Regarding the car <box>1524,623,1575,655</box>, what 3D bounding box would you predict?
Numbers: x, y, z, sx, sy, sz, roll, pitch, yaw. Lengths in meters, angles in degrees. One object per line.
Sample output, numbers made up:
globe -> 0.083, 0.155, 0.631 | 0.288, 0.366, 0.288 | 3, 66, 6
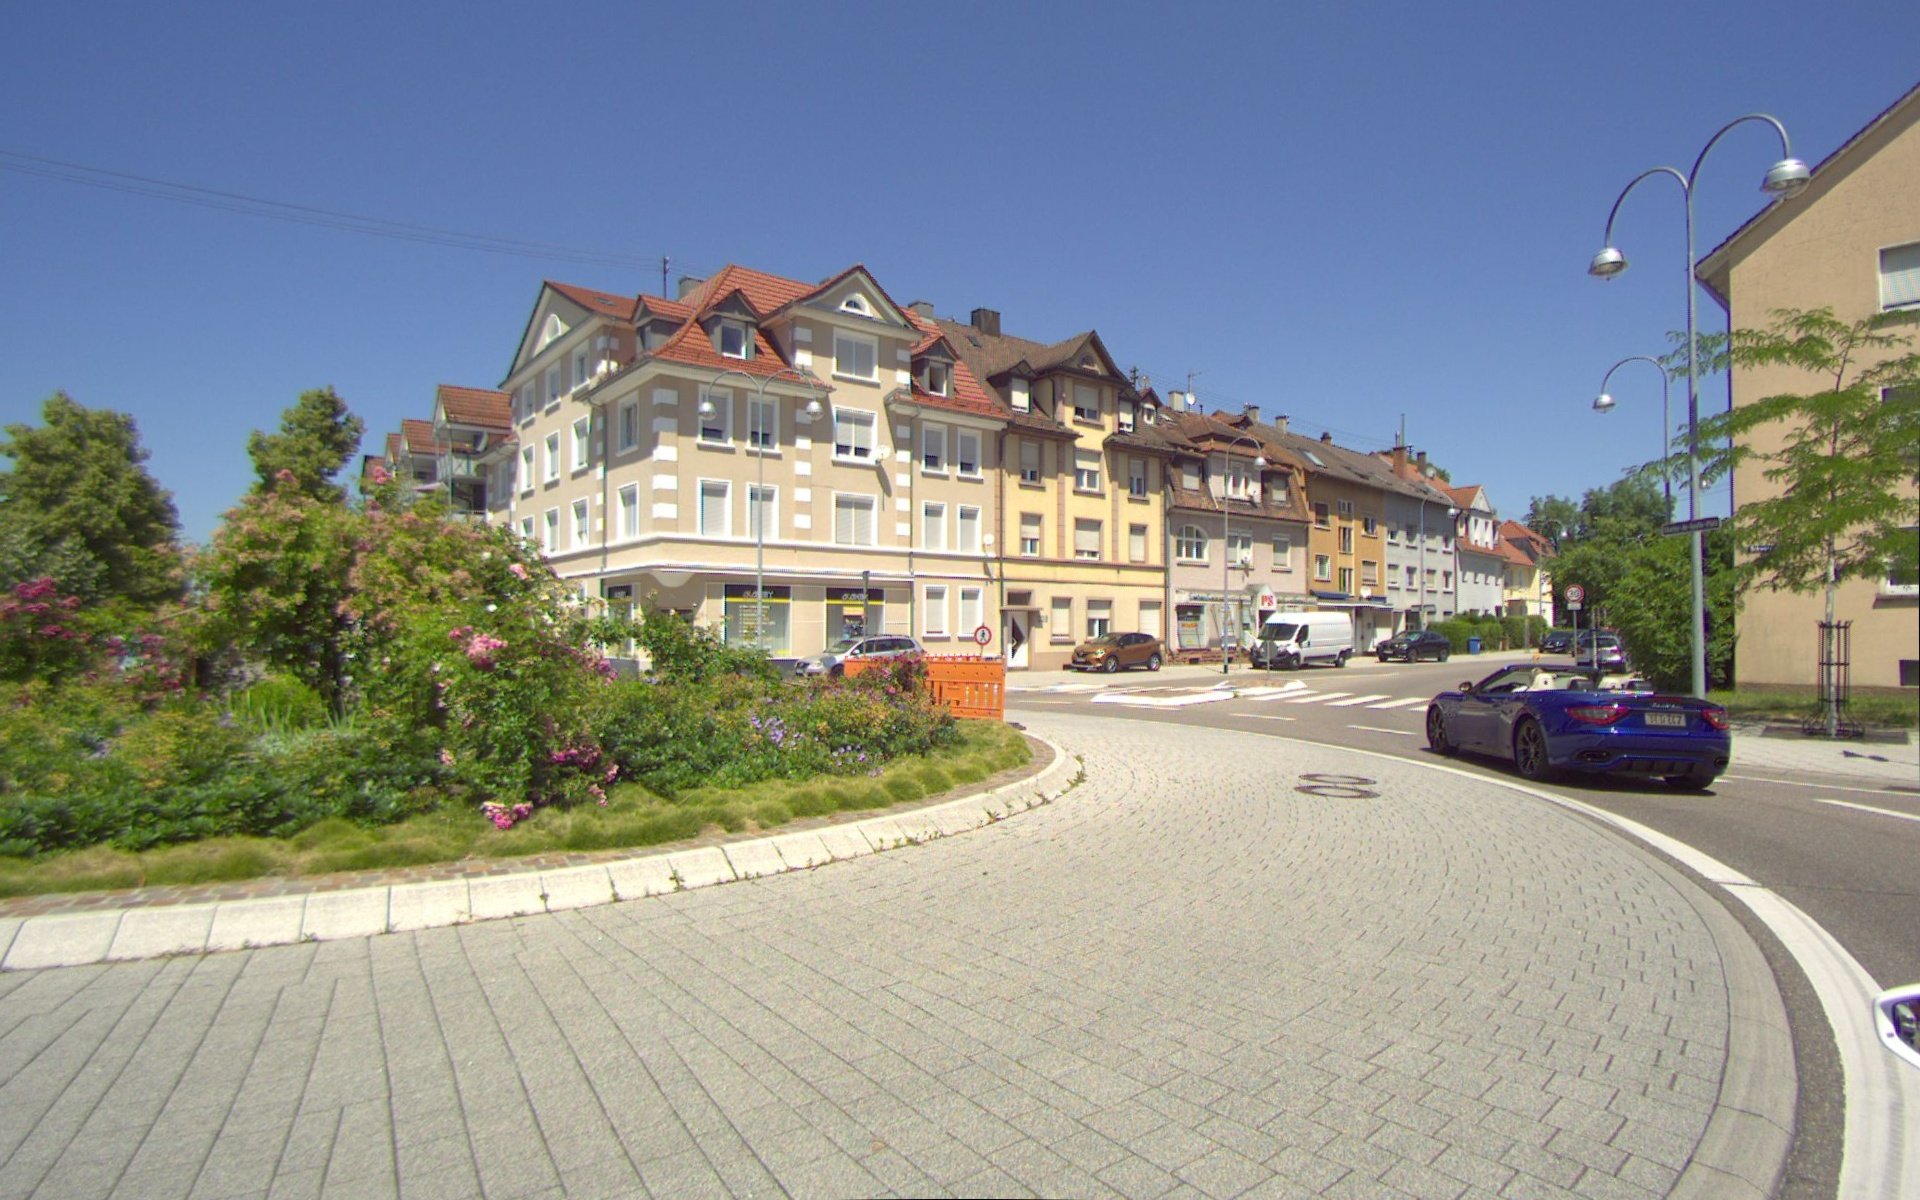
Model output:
car -> 38.625, 2.566, 65.810 | 2.045, 2.040, 3.977 | -2, -3, 43

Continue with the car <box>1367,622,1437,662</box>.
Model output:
car -> 23.122, 2.189, 52.462 | 3.974, 2.040, 2.047 | 2, -3, -45

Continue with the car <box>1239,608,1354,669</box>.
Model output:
car -> 15.277, 1.707, 45.344 | 6.190, 2.566, 2.125 | 2, -1, -42

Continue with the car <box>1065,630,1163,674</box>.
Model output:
car -> 6.209, 2.042, 40.300 | 4.057, 1.638, 1.585 | 1, 0, -39

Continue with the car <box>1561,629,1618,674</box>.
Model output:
car -> 25.427, 2.028, 40.565 | 1.853, 1.653, 3.581 | 0, 0, 33

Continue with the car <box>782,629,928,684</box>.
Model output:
car -> -3.411, 1.818, 33.315 | 4.655, 1.708, 1.761 | 1, -2, -40

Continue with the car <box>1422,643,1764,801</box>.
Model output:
car -> 7.487, 1.412, 12.526 | 1.839, 1.549, 4.512 | 1, -4, 7
